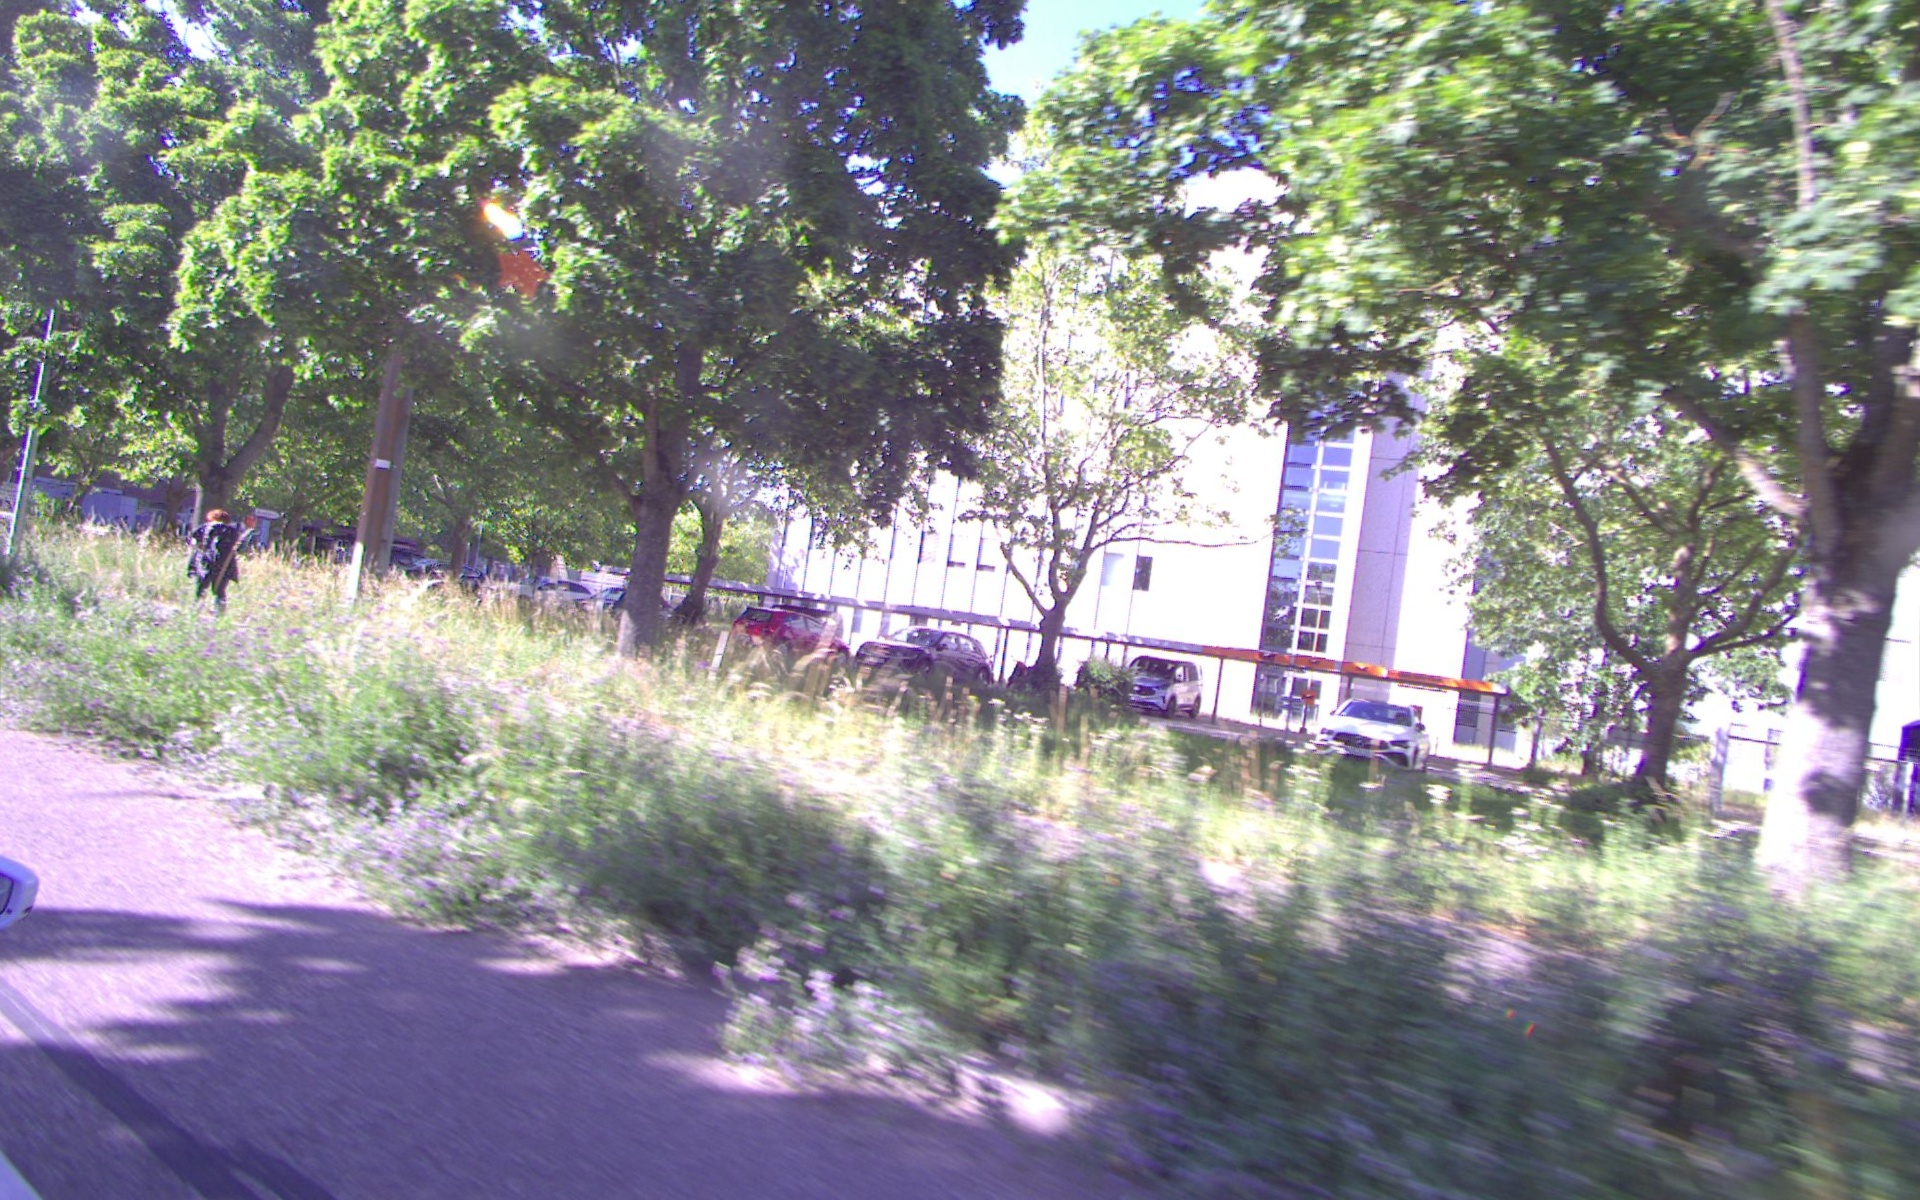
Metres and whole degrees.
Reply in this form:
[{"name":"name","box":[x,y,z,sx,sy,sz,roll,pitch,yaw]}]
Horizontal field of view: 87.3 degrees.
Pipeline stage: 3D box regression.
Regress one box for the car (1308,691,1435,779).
[{"name":"car","box":[8.477,2.672,20.482,1.776,1.286,4.709,8,-1,29]}]

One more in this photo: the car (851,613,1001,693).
[{"name":"car","box":[-0.783,1.453,26.407,1.851,1.614,4.405,7,-2,28]}]

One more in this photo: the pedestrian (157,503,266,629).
[{"name":"pedestrian","box":[-10.411,-0.467,14.001,0.750,1.586,0.826,7,-2,32]}]

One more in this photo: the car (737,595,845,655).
[{"name":"car","box":[-7.329,1.148,44.114,1.926,2.036,4.594,7,-2,32]}]

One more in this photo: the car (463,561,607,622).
[{"name":"car","box":[-14.650,-0.262,34.905,1.795,1.447,4.173,7,-3,34]}]

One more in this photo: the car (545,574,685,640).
[{"name":"car","box":[-10.861,0.262,31.914,1.677,1.542,4.006,7,-2,28]}]

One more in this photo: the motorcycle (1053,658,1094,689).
[{"name":"motorcycle","box":[5.697,3.704,50.258,0.998,1.336,3.044,7,-2,25]}]

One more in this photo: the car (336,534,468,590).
[{"name":"car","box":[-21.674,-1.441,39.214,1.709,1.522,4.039,7,-2,32]}]

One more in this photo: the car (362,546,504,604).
[{"name":"car","box":[-19.888,-0.905,38.141,1.662,1.475,4.363,7,-2,34]}]

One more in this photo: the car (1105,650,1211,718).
[{"name":"car","box":[6.988,2.979,35.078,1.941,1.972,4.760,8,-2,31]}]

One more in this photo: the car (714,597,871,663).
[{"name":"car","box":[-4.784,0.921,29.322,1.910,1.340,4.296,8,-1,36]}]

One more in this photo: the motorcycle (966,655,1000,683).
[{"name":"motorcycle","box":[0.920,2.745,39.875,0.529,0.981,1.653,7,-2,30]}]
